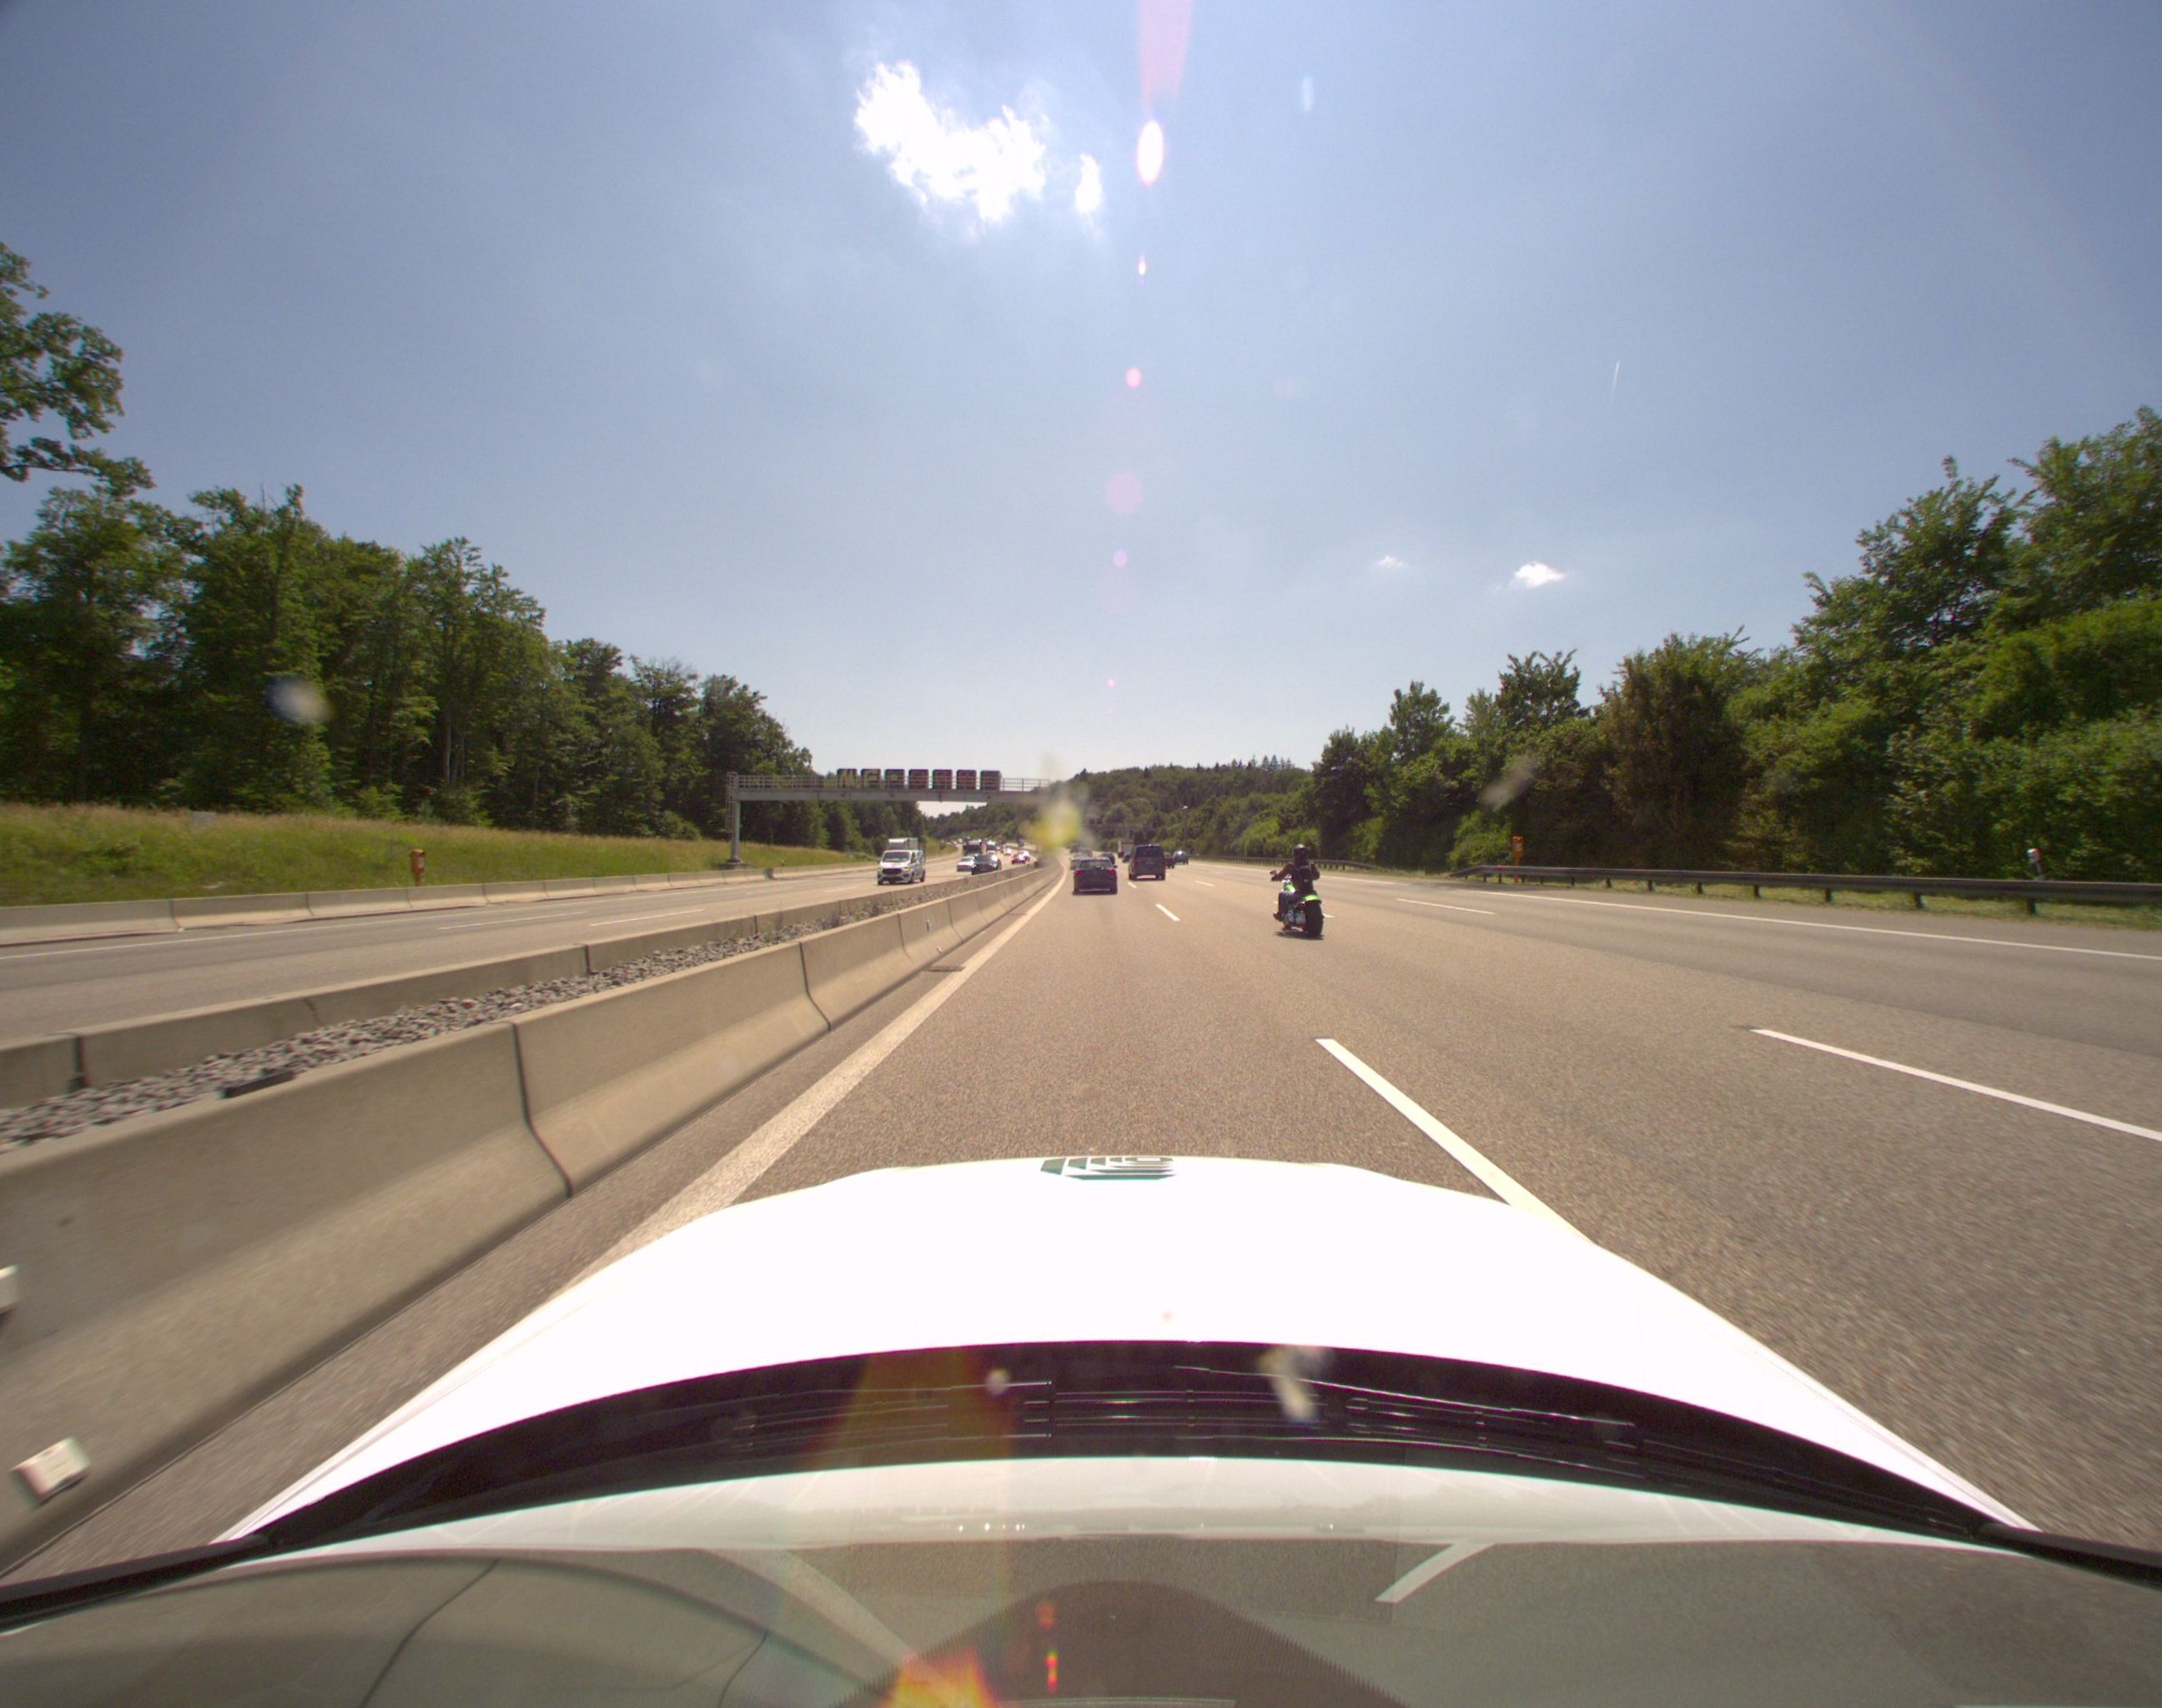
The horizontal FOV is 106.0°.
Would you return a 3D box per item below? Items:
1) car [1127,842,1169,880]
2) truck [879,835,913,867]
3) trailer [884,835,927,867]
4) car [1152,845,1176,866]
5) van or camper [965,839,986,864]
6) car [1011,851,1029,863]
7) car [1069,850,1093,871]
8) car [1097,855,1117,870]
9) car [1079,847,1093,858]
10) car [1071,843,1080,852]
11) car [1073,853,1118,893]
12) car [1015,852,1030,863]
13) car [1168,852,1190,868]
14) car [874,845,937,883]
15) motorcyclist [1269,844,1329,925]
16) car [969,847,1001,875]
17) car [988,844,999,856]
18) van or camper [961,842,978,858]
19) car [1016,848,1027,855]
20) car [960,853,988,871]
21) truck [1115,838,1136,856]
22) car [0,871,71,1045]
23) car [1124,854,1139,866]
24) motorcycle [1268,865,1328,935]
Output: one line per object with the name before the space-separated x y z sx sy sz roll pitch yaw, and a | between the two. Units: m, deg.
car | 3.826 0.393 47.345 1.956 2.033 5.082 -1 0 0
truck | -18.469 -0.274 81.499 2.481 3.166 4.399 0 0 -1
trailer | -18.579 -0.203 86.857 2.468 3.154 10.472 0 -1 -1
car | 7.453 0.140 73.329 1.842 1.728 4.002 -1 0 2
van or camper | -16.356 -0.352 126.837 2.424 3.678 7.752 -1 0 -2
car | -8.228 0.393 110.222 2.042 1.442 5.219 -1 0 -1
car | 0.041 0.679 76.695 2.004 1.846 4.002 -1 -2 2
car | 3.097 0.964 97.392 1.989 1.728 4.144 -1 0 -3
car | 0.876 -0.321 143.478 2.098 1.744 4.683 -1 1 -3
car | -1.362 -1.651 212.510 2.257 2.371 4.702 -1 0 1
car | 0.567 0.713 32.747 1.702 1.433 4.000 0 1 0
car | -9.450 0.490 131.854 1.987 1.728 3.999 -1 0 0
car | 10.817 0.653 90.094 1.987 1.728 3.999 -1 0 0
car | -10.289 0.573 48.334 2.189 2.055 7.139 -1 0 0
motorcyclist | 4.038 0.546 15.144 0.849 1.427 1.024 -2 0 2
car | -6.954 0.526 59.376 1.988 2.014 3.996 0 -1 -2
car | -19.587 -0.909 182.865 1.988 2.575 4.166 0 0 -2
van or camper | -23.639 -0.798 173.339 2.757 3.125 8.087 0 -1 -2
car | -13.219 -0.566 181.612 1.987 1.590 4.842 -1 0 -1
car | -10.691 0.772 81.846 2.281 1.728 5.027 -1 0 -2
truck | 8.116 -1.291 148.332 2.978 3.166 7.568 -1 1 -3
car | -10.347 0.888 5.312 1.669 1.526 4.611 0 -1 1
car | 6.527 0.802 106.014 1.660 1.408 4.903 -1 1 0
motorcycle | 4.023 0.808 15.274 0.533 1.135 2.438 -2 1 2
